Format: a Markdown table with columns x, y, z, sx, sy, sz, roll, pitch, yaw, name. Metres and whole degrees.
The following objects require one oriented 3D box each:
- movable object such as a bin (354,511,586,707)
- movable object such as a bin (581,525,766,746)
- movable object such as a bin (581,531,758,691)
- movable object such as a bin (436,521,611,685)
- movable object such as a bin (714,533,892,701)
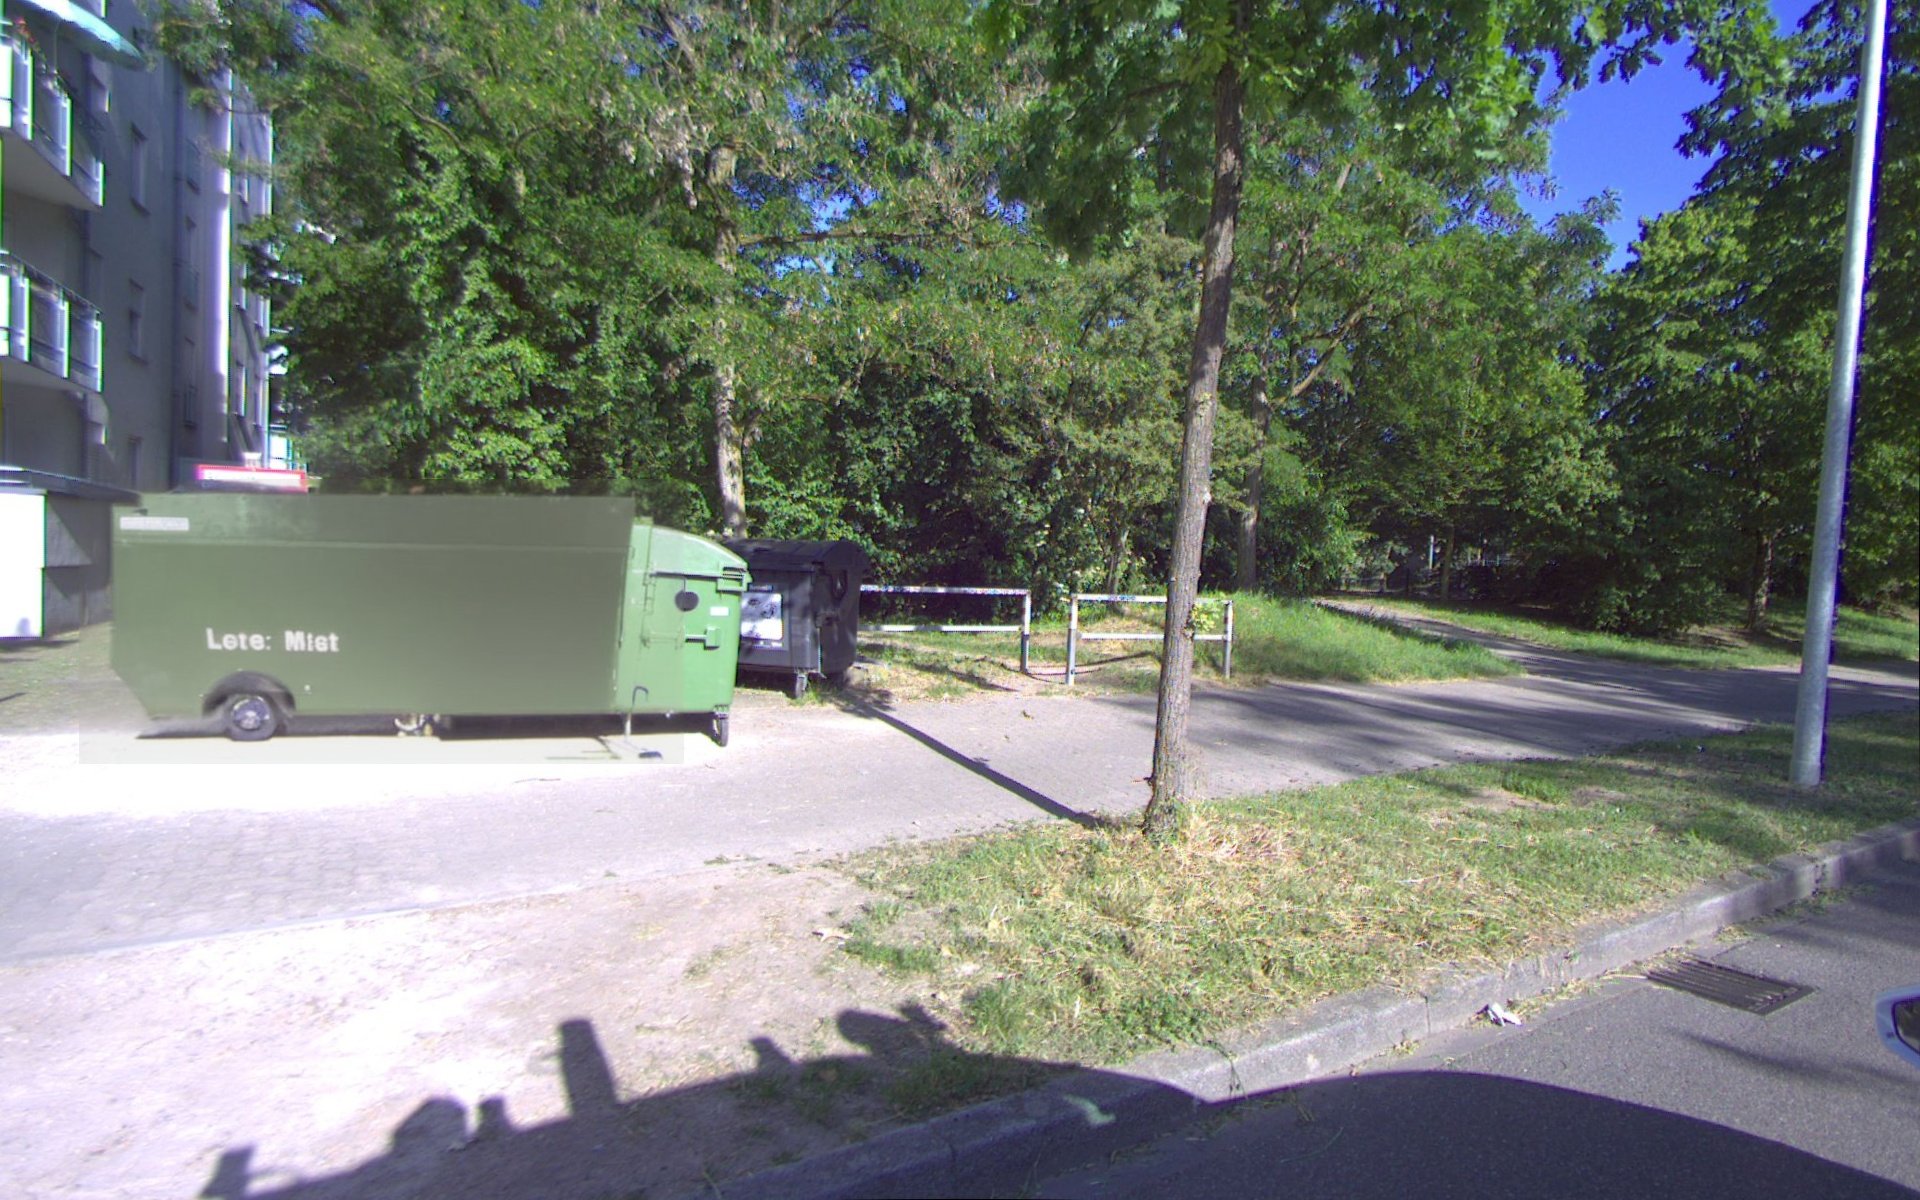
| x | y | z | sx | sy | sz | roll | pitch | yaw | name |
| --- | --- | --- | --- | --- | --- | --- | --- | --- | --- |
| -3.989 | 0.055 | 8.328 | 1.300 | 1.455 | 1.272 | 2 | 2 | -2 | movable object such as a bin |
| -2.063 | 0.231 | 7.362 | 1.161 | 1.455 | 1.269 | 2 | 2 | -14 | movable object such as a bin |
| -2.888 | 0.080 | 10.070 | 1.123 | 1.455 | 1.272 | 3 | 2 | 26 | movable object such as a bin |
| -4.185 | 0.018 | 9.754 | 1.240 | 1.455 | 1.160 | 2 | 2 | -6 | movable object such as a bin |
| -1.478 | 0.128 | 9.615 | 1.123 | 1.455 | 1.272 | 3 | 2 | 26 | movable object such as a bin |
